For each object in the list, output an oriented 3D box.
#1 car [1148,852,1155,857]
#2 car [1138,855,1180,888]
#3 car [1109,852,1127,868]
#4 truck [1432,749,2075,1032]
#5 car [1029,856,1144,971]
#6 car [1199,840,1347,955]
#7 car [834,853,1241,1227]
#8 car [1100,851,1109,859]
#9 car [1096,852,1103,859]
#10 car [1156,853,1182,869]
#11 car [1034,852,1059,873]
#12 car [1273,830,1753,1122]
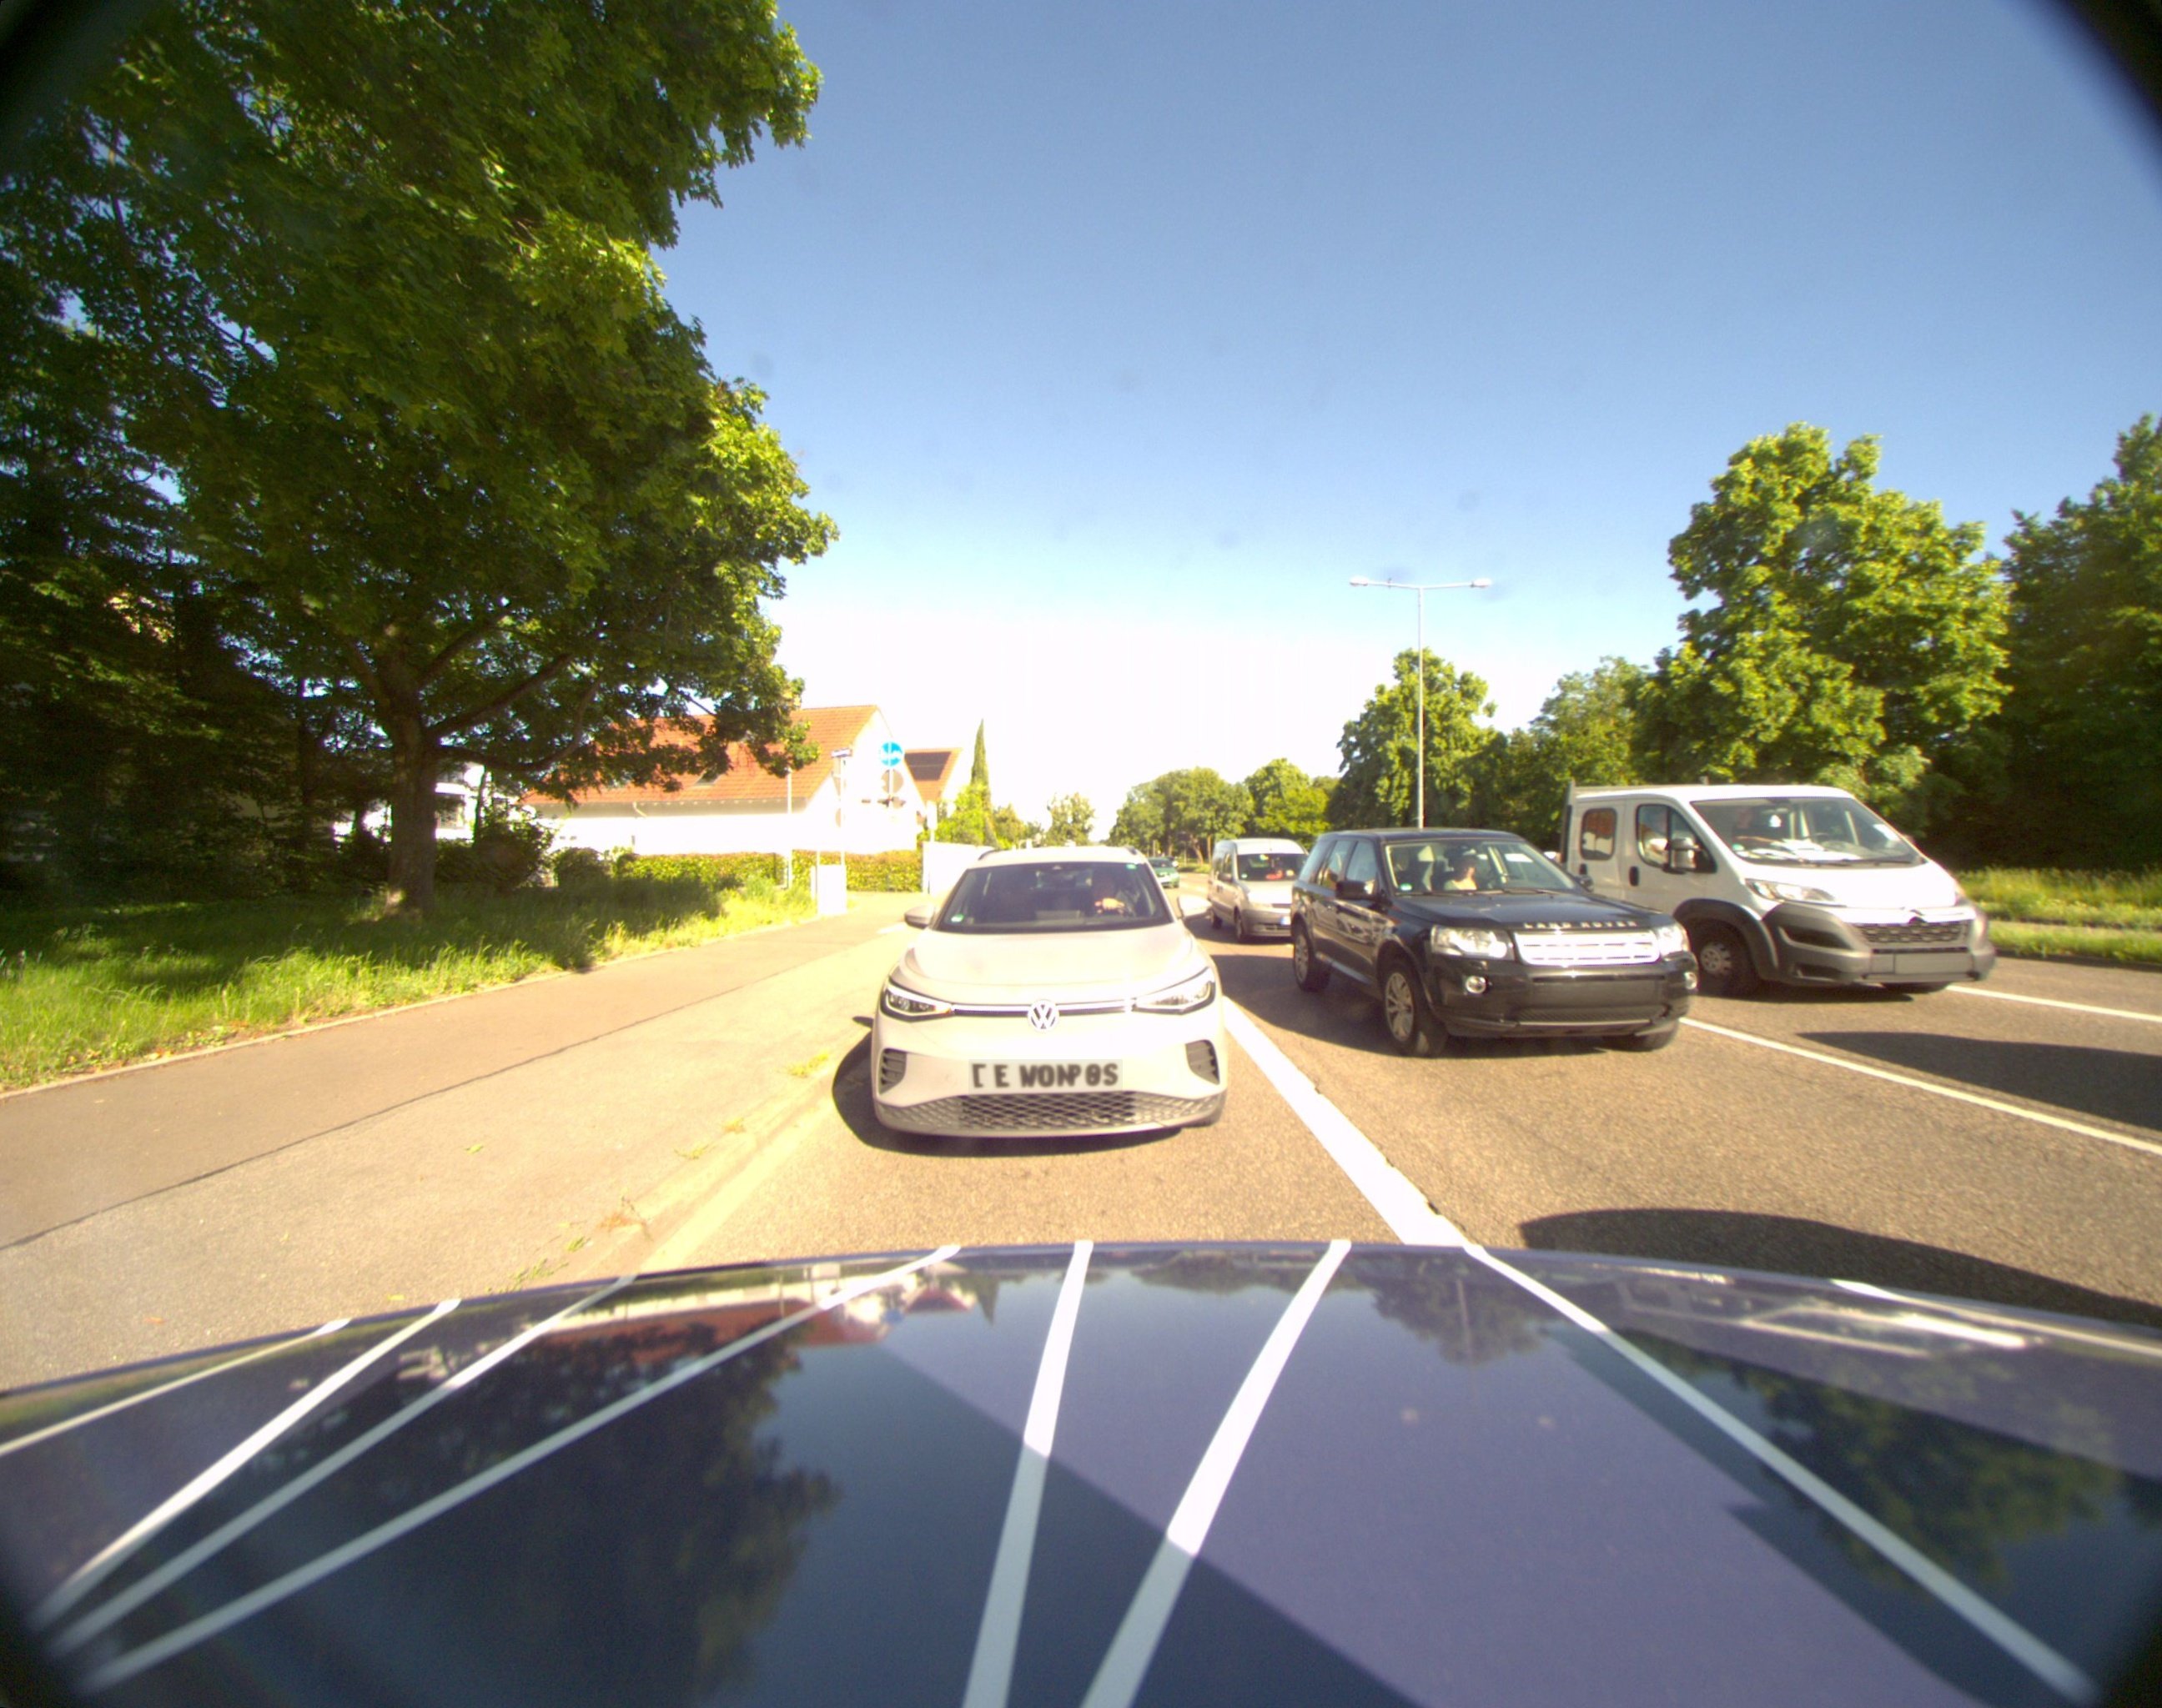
[{"bbox_3d":[22.051,0.164,237.197,1.878,1.674,4.000,0,0,1],"label":"car"},{"bbox_3d":[3.650,0.797,36.191,1.630,1.466,3.931,0,0,0],"label":"car"},{"bbox_3d":[3.928,0.592,80.586,1.726,1.630,4.000,0,0,1],"label":"car"},{"bbox_3d":[7.210,0.272,9.765,2.185,2.307,6.842,-2,1,0],"label":"truck"},{"bbox_3d":[0.106,0.868,13.026,1.632,1.586,4.024,-2,1,1],"label":"car"},{"bbox_3d":[3.322,0.656,13.973,1.632,1.741,4.386,-2,1,1],"label":"car"},{"bbox_3d":[-0.172,0.851,5.583,1.858,1.679,4.206,0,1,1],"label":"car"},{"bbox_3d":[4.493,0.190,146.492,1.726,1.630,4.000,0,0,1],"label":"car"},{"bbox_3d":[4.722,0.436,190.366,1.726,1.630,4.000,0,0,1],"label":"car"},{"bbox_3d":[7.896,0.623,68.470,1.727,1.436,3.999,0,0,-3],"label":"car"},{"bbox_3d":[-2.576,0.620,56.890,1.630,1.523,3.931,-1,0,0],"label":"car"},{"bbox_3d":[3.163,0.717,6.778,1.816,1.721,4.386,-2,1,1],"label":"car"}]
